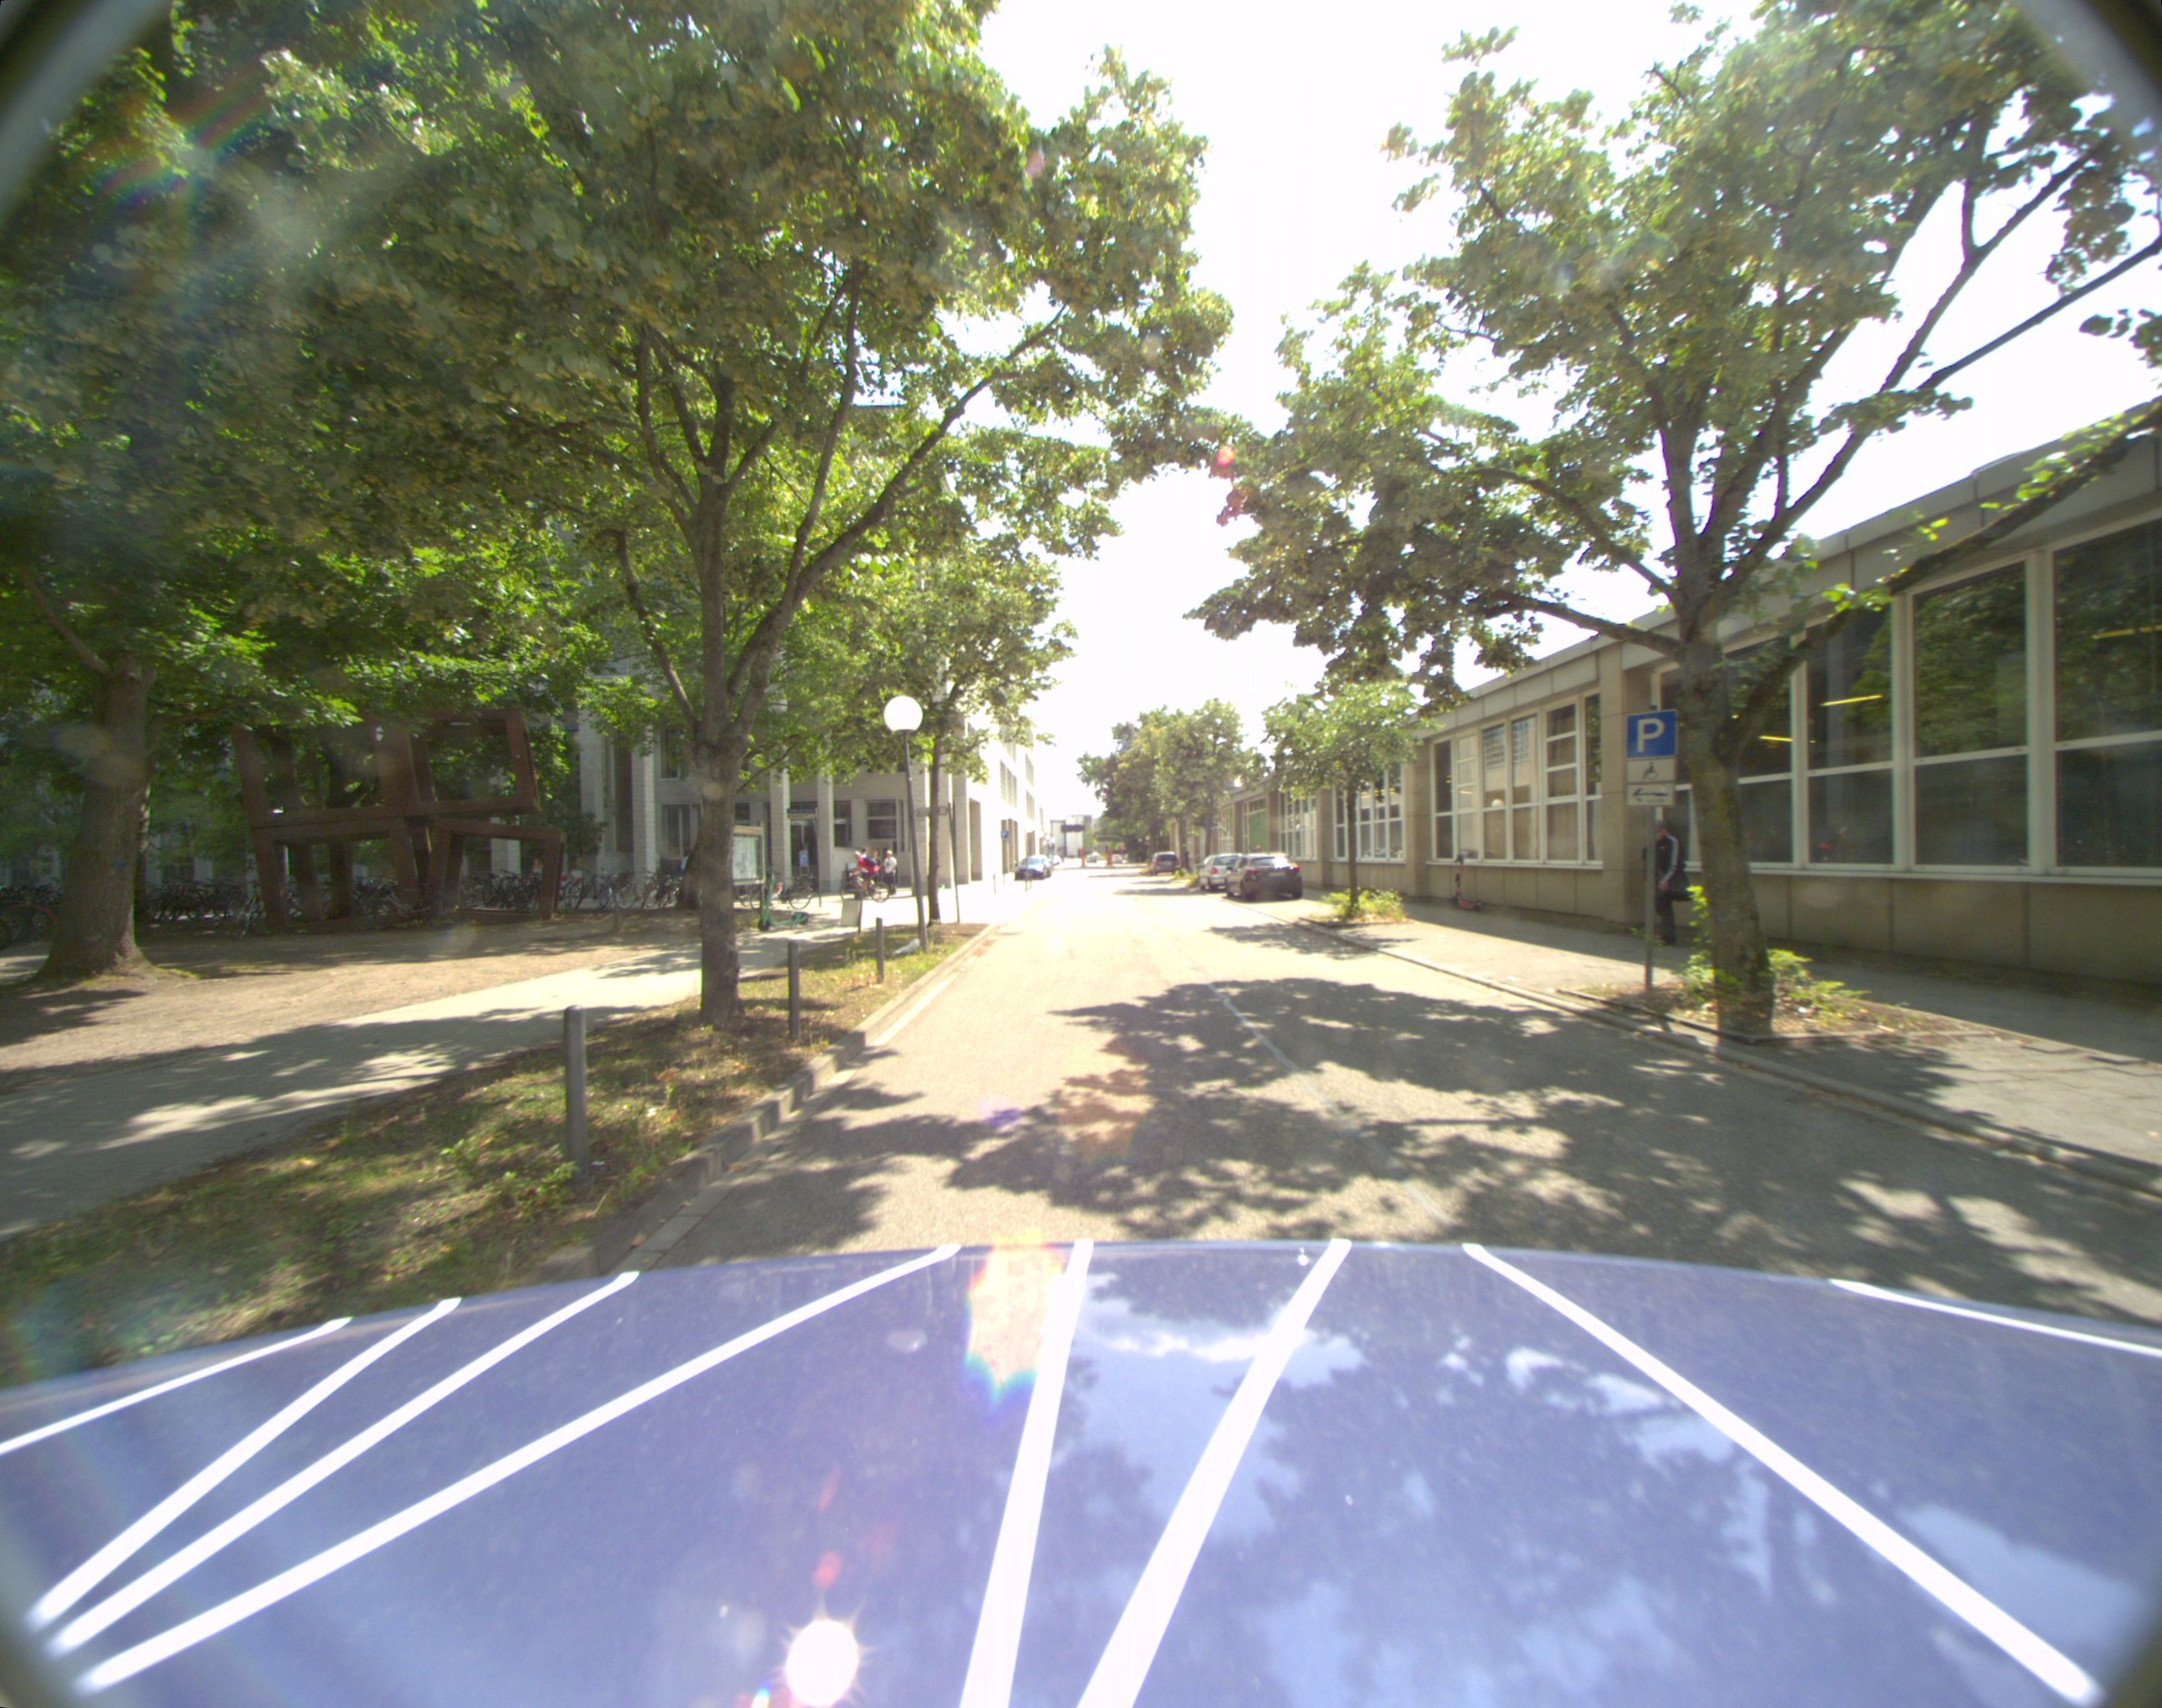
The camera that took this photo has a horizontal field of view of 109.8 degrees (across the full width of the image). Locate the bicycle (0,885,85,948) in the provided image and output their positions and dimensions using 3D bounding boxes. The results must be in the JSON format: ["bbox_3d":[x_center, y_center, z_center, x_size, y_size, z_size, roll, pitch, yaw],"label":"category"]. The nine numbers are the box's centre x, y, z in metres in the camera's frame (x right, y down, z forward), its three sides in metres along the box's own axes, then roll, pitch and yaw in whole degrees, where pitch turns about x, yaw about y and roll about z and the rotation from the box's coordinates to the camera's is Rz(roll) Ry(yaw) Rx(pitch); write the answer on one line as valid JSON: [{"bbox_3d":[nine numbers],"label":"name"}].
[{"bbox_3d":[-20.748,1.213,14.628,1.848,1.163,0.435,-1,0,-35],"label":"bicycle"}]

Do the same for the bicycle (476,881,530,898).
[{"bbox_3d":[-27.016,1.661,35.542,1.989,0.755,0.644,0,-1,-2],"label":"bicycle"}]

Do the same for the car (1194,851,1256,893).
[{"bbox_3d":[5.657,0.669,30.248,1.634,1.440,3.752,-4,0,0],"label":"car"}]

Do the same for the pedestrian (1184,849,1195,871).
[{"bbox_3d":[7.707,0.414,54.109,0.604,1.571,0.552,1,0,31],"label":"pedestrian"}]

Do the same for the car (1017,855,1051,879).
[{"bbox_3d":[-2.942,0.811,47.982,1.843,1.390,3.878,0,-1,1],"label":"car"}]

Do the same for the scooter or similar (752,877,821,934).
[{"bbox_3d":[-6.074,1.047,15.710,0.496,1.107,1.365,-1,-1,25],"label":"scooter or similar"}]

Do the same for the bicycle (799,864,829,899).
[{"bbox_3d":[-10.370,1.052,29.567,0.531,1.235,1.829,-1,1,-1],"label":"bicycle"}]

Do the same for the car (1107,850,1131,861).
[{"bbox_3d":[6.039,0.250,122.312,3.674,1.441,1.804,-4,1,-1],"label":"car"}]

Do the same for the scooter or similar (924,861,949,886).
[{"bbox_3d":[-7.497,0.994,39.438,0.566,1.205,1.506,-3,3,-40],"label":"scooter or similar"}]

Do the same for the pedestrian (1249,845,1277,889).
[{"bbox_3d":[6.578,0.462,27.510,0.797,1.533,0.664,-1,1,-1],"label":"pedestrian"}]

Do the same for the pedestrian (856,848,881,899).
[{"bbox_3d":[-7.988,0.721,28.596,0.687,1.880,0.686,-2,2,-2],"label":"pedestrian"}]

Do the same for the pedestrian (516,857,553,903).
[{"bbox_3d":[-21.396,1.015,29.750,0.938,1.730,0.748,-2,1,-19],"label":"pedestrian"}]

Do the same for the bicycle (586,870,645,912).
[{"bbox_3d":[-13.171,1.028,21.545,0.481,1.118,1.697,0,-1,6],"label":"bicycle"}]

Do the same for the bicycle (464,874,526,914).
[{"bbox_3d":[-16.567,1.119,21.523,0.568,1.041,1.695,-4,-1,-7],"label":"bicycle"}]

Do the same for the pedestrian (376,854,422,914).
[{"bbox_3d":[-19.670,0.854,21.938,0.428,1.693,0.944,-3,0,-4],"label":"pedestrian"}]

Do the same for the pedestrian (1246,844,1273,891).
[{"bbox_3d":[6.623,0.490,28.213,0.797,1.718,0.601,-1,1,-9],"label":"pedestrian"}]

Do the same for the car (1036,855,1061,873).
[{"bbox_3d":[-2.693,0.842,63.335,1.843,1.390,3.878,0,-1,1],"label":"car"}]

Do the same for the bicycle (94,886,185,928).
[{"bbox_3d":[-26.517,1.477,21.444,0.478,1.077,1.688,-4,-1,-4],"label":"bicycle"}]

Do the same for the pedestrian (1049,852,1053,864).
[{"bbox_3d":[-3.996,0.489,100.973,0.383,1.620,0.519,2,0,1],"label":"pedestrian"}]

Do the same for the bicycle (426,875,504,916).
[{"bbox_3d":[-17.377,1.166,21.488,0.617,1.041,1.697,-4,-1,8],"label":"bicycle"}]

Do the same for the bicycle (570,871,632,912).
[{"bbox_3d":[-13.675,1.039,21.707,0.565,1.118,1.697,0,-1,6],"label":"bicycle"}]

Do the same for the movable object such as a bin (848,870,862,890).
[{"bbox_3d":[-10.947,1.269,36.756,0.513,0.944,0.512,2,0,-2],"label":"movable object such as a bin"}]

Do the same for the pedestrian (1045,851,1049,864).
[{"bbox_3d":[-4.487,0.462,100.963,0.383,1.620,0.519,2,0,1],"label":"pedestrian"}]

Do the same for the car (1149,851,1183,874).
[{"bbox_3d":[5.817,0.573,52.420,1.803,1.440,3.676,-4,0,0],"label":"car"}]

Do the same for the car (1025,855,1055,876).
[{"bbox_3d":[-2.828,0.800,53.456,1.843,1.390,3.878,0,-1,1],"label":"car"}]

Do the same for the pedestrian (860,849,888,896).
[{"bbox_3d":[-8.137,0.724,29.842,0.811,1.787,0.618,-2,2,-43],"label":"pedestrian"}]

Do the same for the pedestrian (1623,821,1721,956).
[{"bbox_3d":[8.182,0.461,10.555,0.670,1.776,0.790,-3,0,0],"label":"pedestrian"}]

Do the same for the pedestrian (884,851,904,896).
[{"bbox_3d":[-7.333,0.762,29.819,0.614,1.719,0.542,-1,1,1],"label":"pedestrian"}]

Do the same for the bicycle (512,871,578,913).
[{"bbox_3d":[-15.224,1.047,21.641,0.627,1.143,1.697,0,-1,2],"label":"bicycle"}]

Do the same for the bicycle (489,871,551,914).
[{"bbox_3d":[-15.905,1.077,21.591,0.628,1.143,1.695,-4,-1,-8],"label":"bicycle"}]

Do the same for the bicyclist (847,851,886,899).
[{"bbox_3d":[-7.156,0.700,25.436,0.958,1.534,0.839,1,-1,8],"label":"bicyclist"}]

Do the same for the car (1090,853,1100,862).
[{"bbox_3d":[2.594,0.655,141.890,1.803,1.440,3.676,-4,0,0],"label":"car"}]

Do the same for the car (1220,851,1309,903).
[{"bbox_3d":[5.804,0.698,24.581,1.729,1.427,4.289,-3,0,0],"label":"car"}]

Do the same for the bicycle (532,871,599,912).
[{"bbox_3d":[-14.516,1.039,21.451,0.627,1.118,1.697,0,-1,6],"label":"bicycle"}]

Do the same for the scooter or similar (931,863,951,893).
[{"bbox_3d":[-5.840,0.979,31.686,0.564,1.205,1.510,1,1,-1],"label":"scooter or similar"}]

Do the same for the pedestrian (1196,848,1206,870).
[{"bbox_3d":[8.549,0.360,54.025,0.605,1.571,0.551,1,0,-2],"label":"pedestrian"}]

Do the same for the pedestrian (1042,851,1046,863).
[{"bbox_3d":[-4.974,0.431,100.975,0.441,1.620,0.570,2,0,1],"label":"pedestrian"}]

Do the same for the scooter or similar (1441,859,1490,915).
[{"bbox_3d":[8.662,0.715,17.146,0.383,1.200,1.246,-3,0,-1],"label":"scooter or similar"}]

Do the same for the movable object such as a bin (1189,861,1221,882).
[{"bbox_3d":[6.326,0.864,38.882,1.295,0.979,1.696,-3,0,1],"label":"movable object such as a bin"}]

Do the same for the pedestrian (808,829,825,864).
[{"bbox_3d":[-13.281,-0.388,38.163,0.690,1.724,0.685,-1,1,-8],"label":"pedestrian"}]

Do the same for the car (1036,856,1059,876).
[{"bbox_3d":[-2.960,1.080,68.329,1.799,1.691,4.000,2,0,1],"label":"car"}]

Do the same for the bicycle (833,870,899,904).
[{"bbox_3d":[-7.194,1.104,25.446,1.928,1.036,0.818,-1,4,9],"label":"bicycle"}]
